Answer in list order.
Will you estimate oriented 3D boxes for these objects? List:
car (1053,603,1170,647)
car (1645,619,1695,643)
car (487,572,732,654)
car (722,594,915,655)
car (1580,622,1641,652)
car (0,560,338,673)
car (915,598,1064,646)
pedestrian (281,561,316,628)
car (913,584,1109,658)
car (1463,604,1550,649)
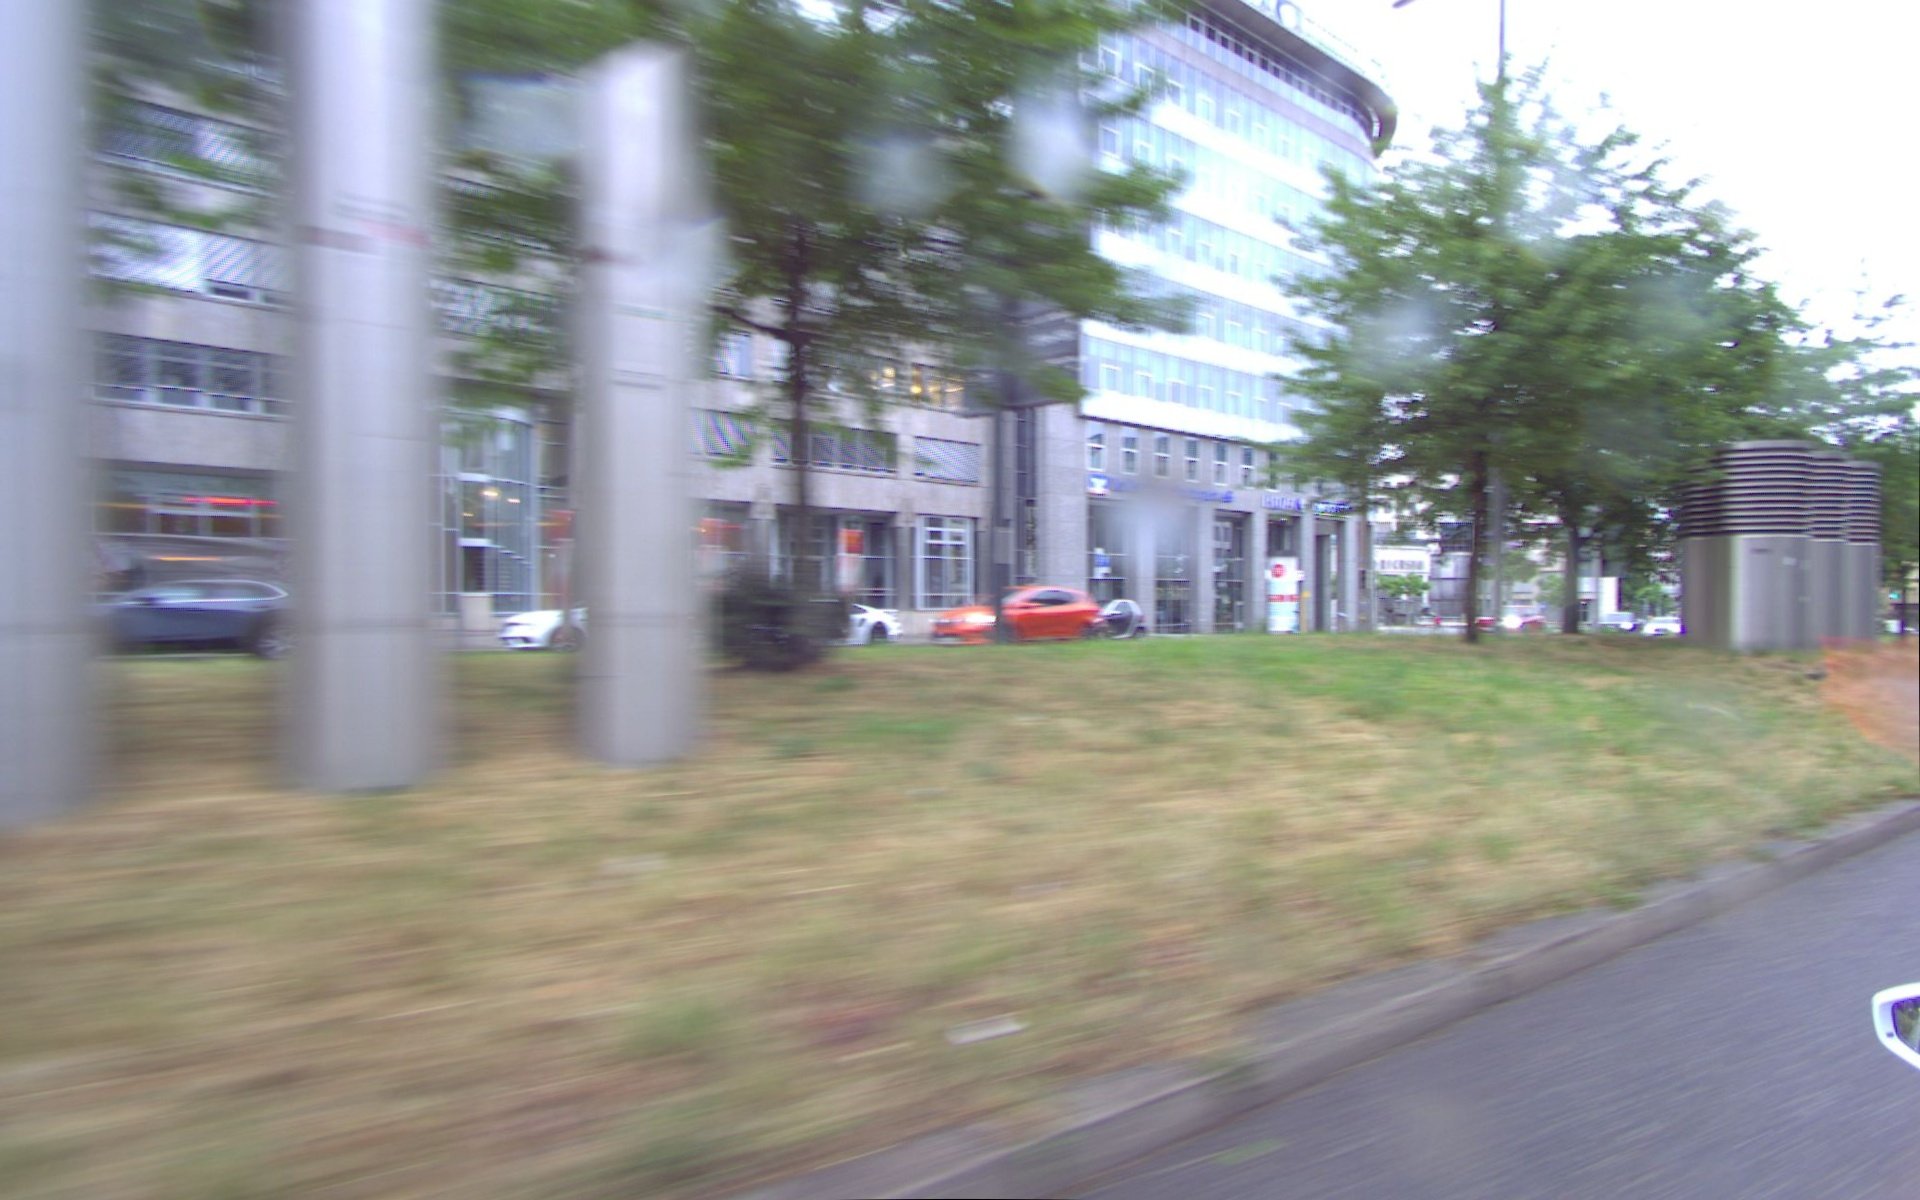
[{"bbox_3d":[5.182,0.816,34.139,3.982,1.420,1.761,1,-1,-39],"label":"car"},{"bbox_3d":[46.290,1.985,65.503,4.162,1.495,1.803,1,0,-42],"label":"car"},{"bbox_3d":[-7.711,0.290,22.356,4.867,1.644,1.763,1,0,-37],"label":"car"},{"bbox_3d":[-3.561,0.603,25.691,4.640,1.420,1.763,1,-1,-37],"label":"car"},{"bbox_3d":[35.841,2.011,55.294,3.970,1.495,1.851,1,0,-42],"label":"car"},{"bbox_3d":[-13.749,0.276,17.583,4.747,1.748,1.848,1,-1,-37],"label":"car"},{"bbox_3d":[0.951,0.649,30.449,4.440,1.343,1.876,1,0,-41],"label":"car"},{"bbox_3d":[-18.270,-0.153,27.731,0.708,1.812,0.528,1,1,27],"label":"pedestrian"},{"bbox_3d":[1.165,0.432,21.600,4.099,1.448,1.846,1,-1,-41],"label":"car"},{"bbox_3d":[22.298,1.057,40.955,3.970,1.723,1.927,1,0,-42],"label":"car"}]
